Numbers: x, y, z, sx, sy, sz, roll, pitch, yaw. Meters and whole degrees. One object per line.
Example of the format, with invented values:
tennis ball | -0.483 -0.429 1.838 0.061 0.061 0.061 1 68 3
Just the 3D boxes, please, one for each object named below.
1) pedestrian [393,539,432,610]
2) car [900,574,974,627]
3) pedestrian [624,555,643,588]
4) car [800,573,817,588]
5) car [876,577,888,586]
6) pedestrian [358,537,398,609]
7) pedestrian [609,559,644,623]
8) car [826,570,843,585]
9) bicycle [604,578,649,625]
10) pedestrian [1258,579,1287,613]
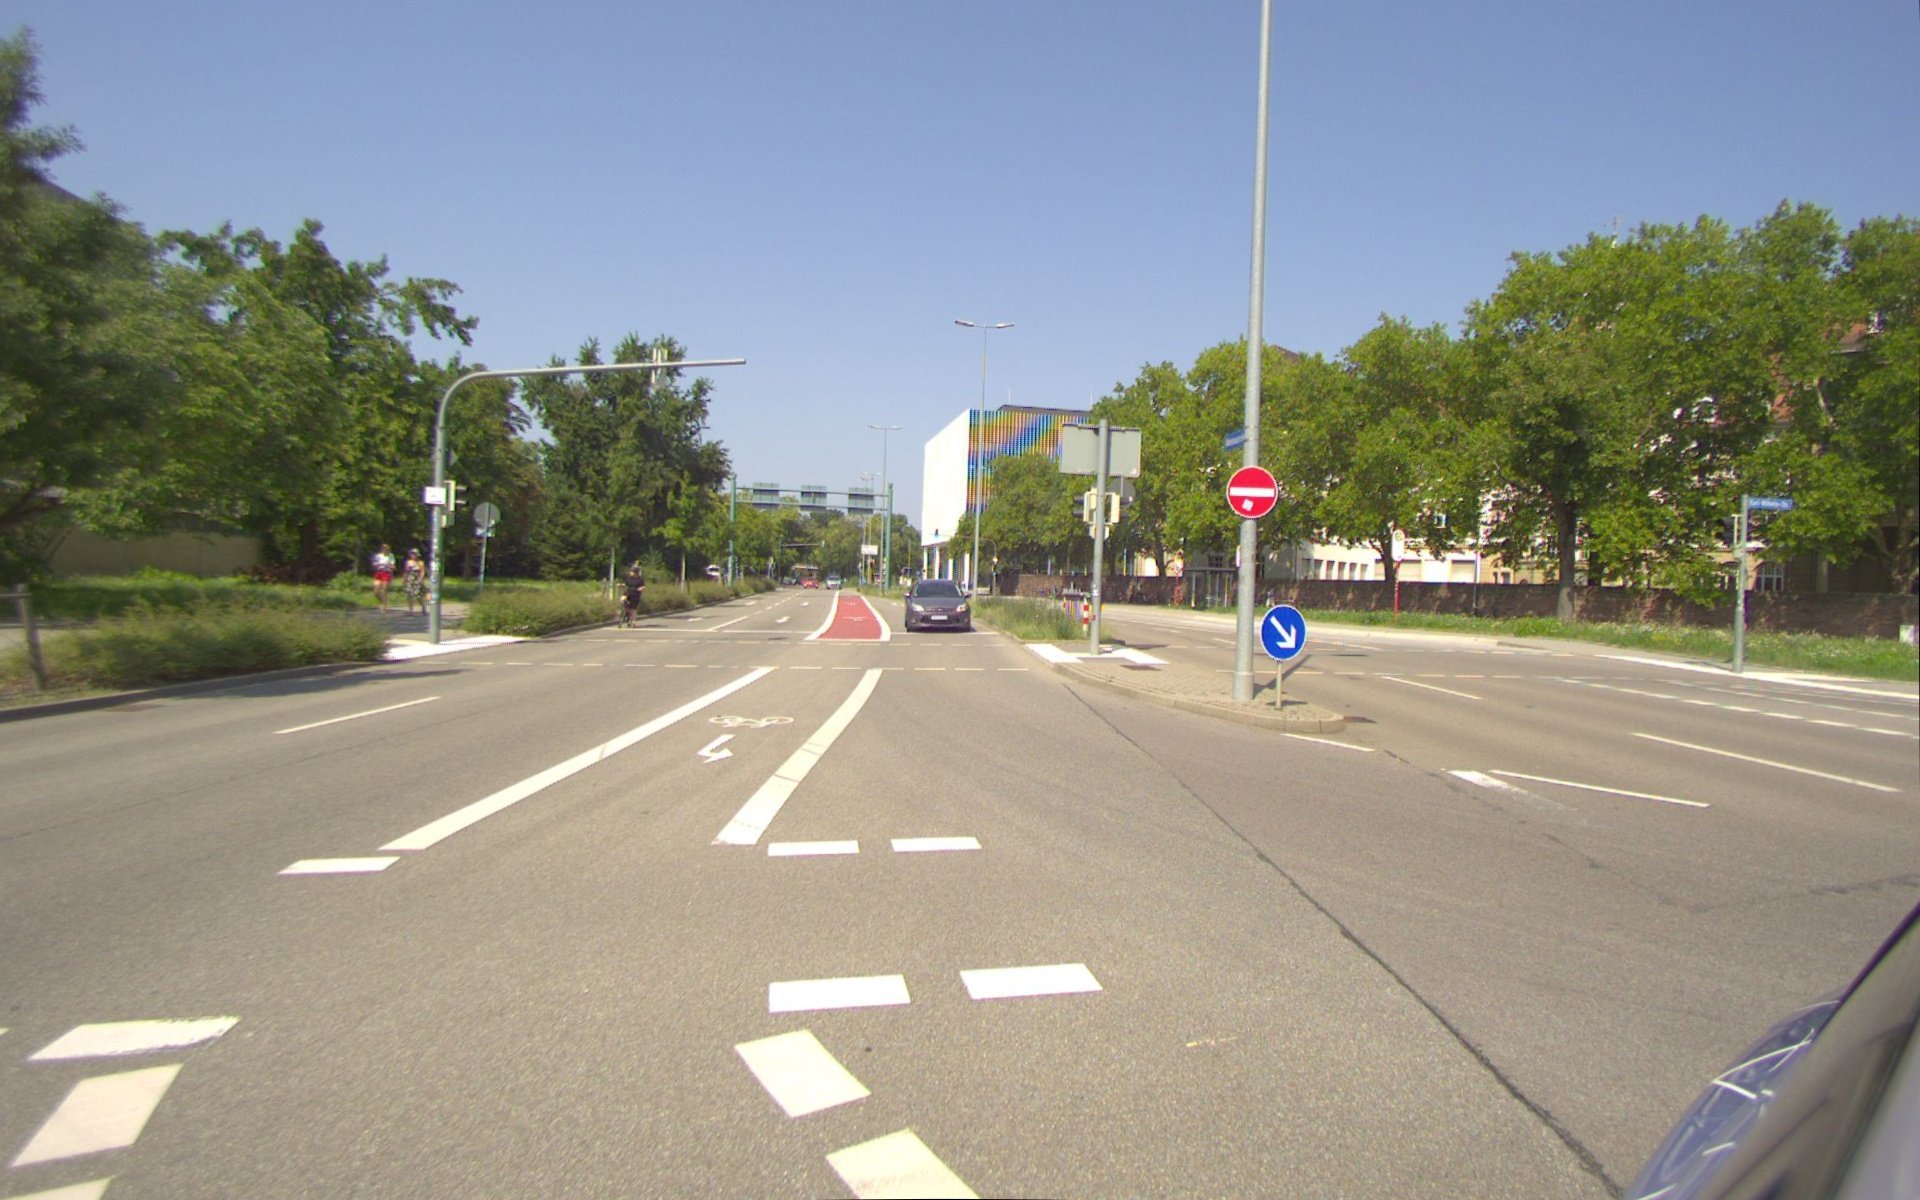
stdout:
pedestrian | -14.226 -0.665 26.288 0.680 1.793 0.588 2 1 -5
car | -0.714 -0.033 28.563 1.755 1.374 3.429 0 2 -7
pedestrian | -17.962 -1.577 55.739 0.778 1.790 0.827 2 1 -6
car | -19.828 -2.566 132.726 2.041 1.940 4.203 2 1 -10
car | -11.812 -2.812 153.193 1.558 1.151 3.268 2 2 -6
pedestrian | -14.993 -0.696 26.076 0.680 1.793 0.588 2 1 -5
pedestrian | -9.127 -0.248 27.693 0.765 1.690 0.549 2 1 -6
car | -14.908 -2.677 120.039 1.959 1.699 4.006 2 1 -7
bicycle | -9.145 0.019 27.796 0.770 1.227 1.792 2 1 -6
pedestrian | 19.509 -0.264 63.239 1.050 2.038 1.237 2 1 -29
